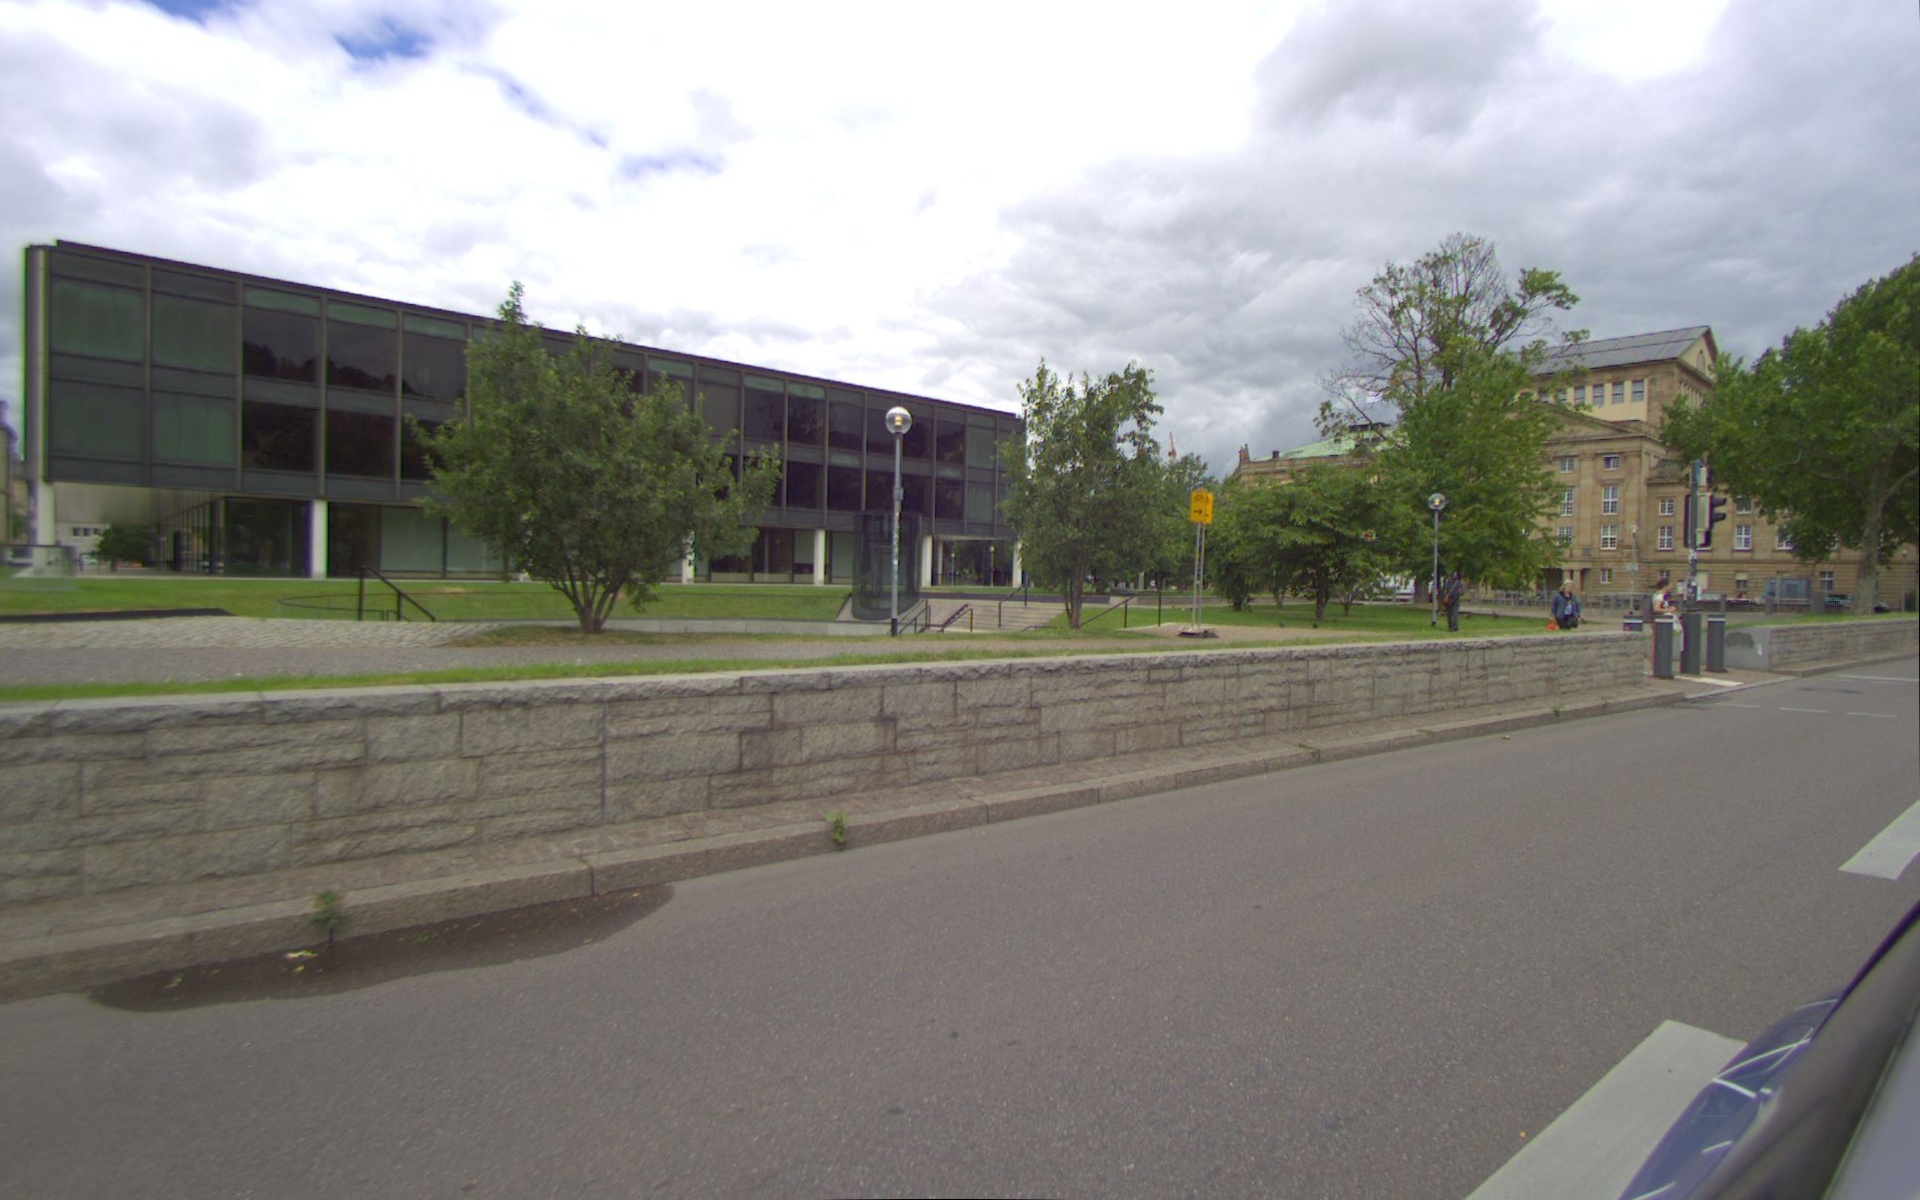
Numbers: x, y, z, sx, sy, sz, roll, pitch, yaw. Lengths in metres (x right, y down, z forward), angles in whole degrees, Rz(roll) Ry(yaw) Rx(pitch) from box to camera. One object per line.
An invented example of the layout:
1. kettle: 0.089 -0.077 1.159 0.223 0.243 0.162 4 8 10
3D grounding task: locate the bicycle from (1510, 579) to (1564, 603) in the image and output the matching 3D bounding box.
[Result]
1. bicycle: 28.685 -0.449 50.361 0.673 1.155 2.196 0 2 -40

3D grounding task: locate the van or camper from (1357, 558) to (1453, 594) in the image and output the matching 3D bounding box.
1. van or camper: 30.933 -1.661 70.548 2.281 2.348 5.706 -2 2 -41

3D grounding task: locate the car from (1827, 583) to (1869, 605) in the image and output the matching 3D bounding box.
1. car: 67.328 -0.452 76.719 4.142 1.537 1.767 1 0 -40

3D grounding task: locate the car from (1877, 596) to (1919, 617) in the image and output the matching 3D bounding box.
1. car: 78.109 0.528 83.174 1.707 1.616 3.988 -1 0 -45

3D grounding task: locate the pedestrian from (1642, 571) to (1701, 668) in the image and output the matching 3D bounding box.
1. pedestrian: 12.607 0.328 17.936 0.672 1.676 0.698 -1 -1 -42

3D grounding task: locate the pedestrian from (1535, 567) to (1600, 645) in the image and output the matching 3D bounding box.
1. pedestrian: 12.753 0.120 21.263 0.889 1.580 0.687 1 4 -24

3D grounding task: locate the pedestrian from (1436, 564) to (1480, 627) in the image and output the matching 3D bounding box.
1. pedestrian: 13.257 -0.129 26.960 0.614 1.646 0.805 1 1 -33
